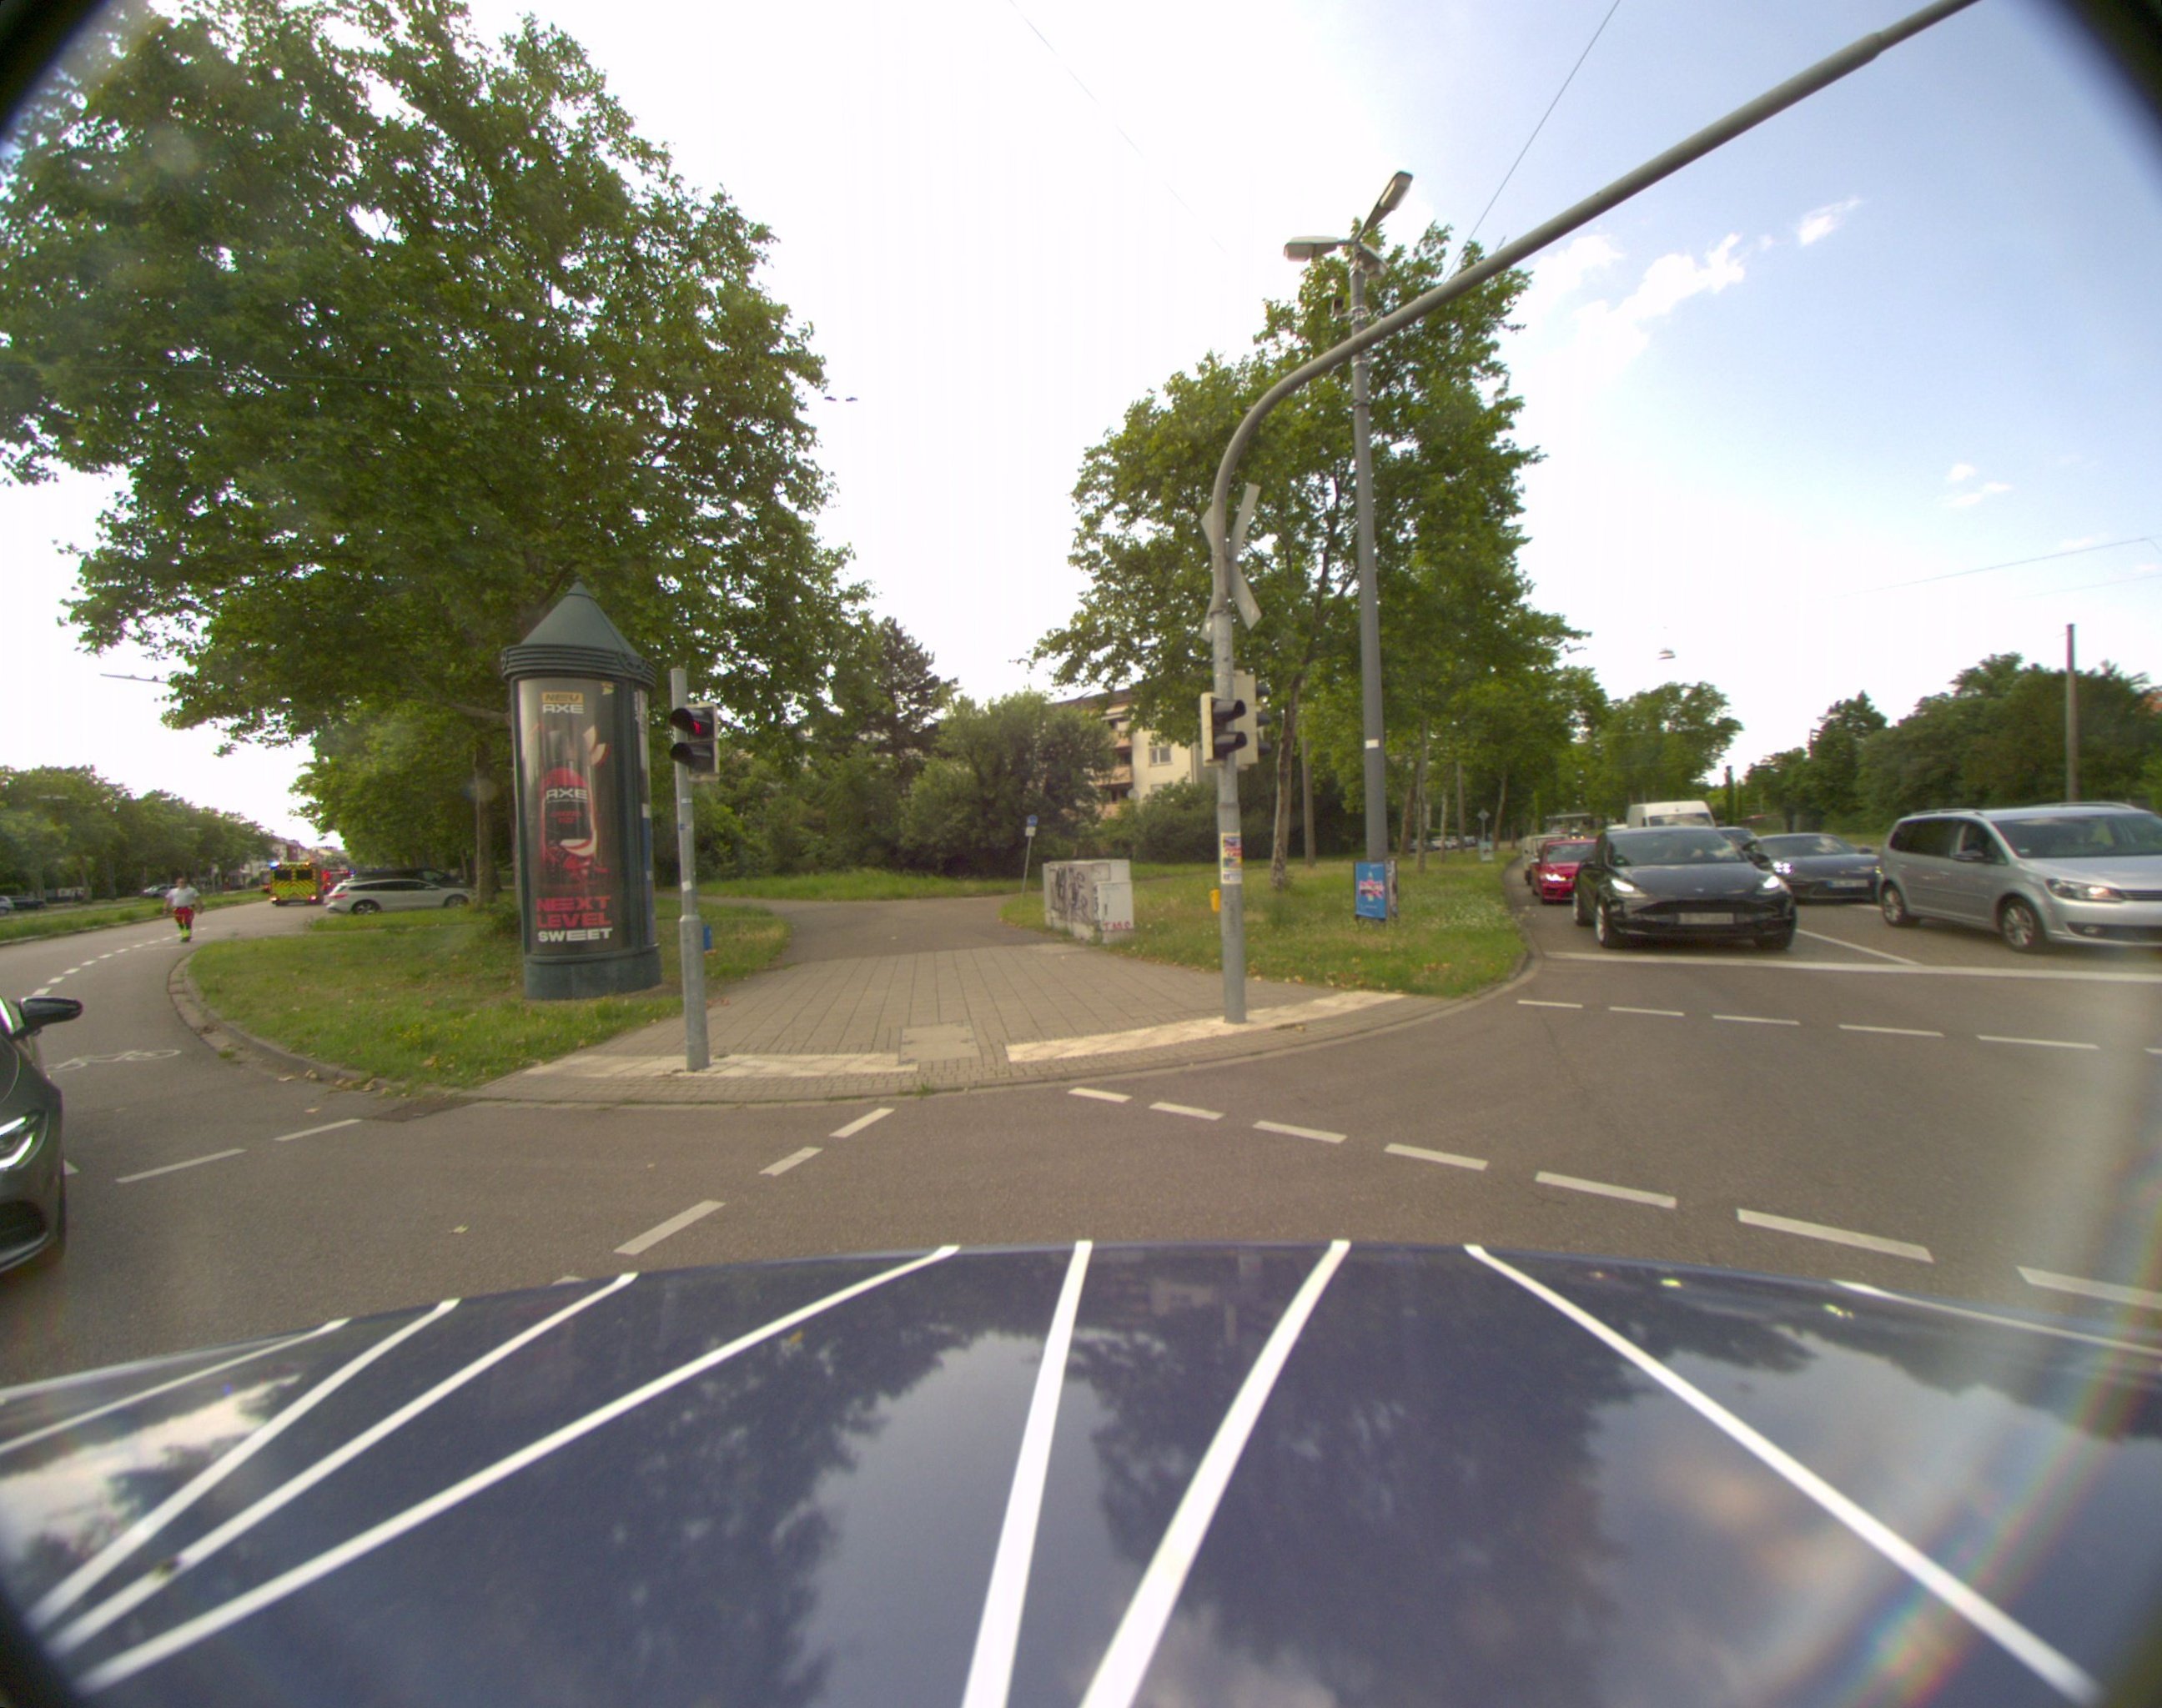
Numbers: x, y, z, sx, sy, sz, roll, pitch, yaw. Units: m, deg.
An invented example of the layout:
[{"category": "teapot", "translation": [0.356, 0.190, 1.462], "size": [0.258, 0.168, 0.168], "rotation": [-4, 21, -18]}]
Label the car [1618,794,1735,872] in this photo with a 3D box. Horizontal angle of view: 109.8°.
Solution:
[{"category": "car", "translation": [22.287, -0.785, 28.721], "size": [2.222, 2.515, 5.942], "rotation": [-4, 0, 27]}]

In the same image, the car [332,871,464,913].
[{"category": "car", "translation": [-32.702, 1.798, 36.509], "size": [4.552, 1.634, 1.995], "rotation": [-3, 0, -44]}]

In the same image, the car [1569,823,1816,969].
[{"category": "car", "translation": [8.471, 0.456, 11.027], "size": [1.927, 1.642, 4.587], "rotation": [-4, 0, 28]}]

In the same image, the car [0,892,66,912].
[{"category": "car", "translation": [-86.799, 3.973, 62.093], "size": [1.897, 1.356, 4.322], "rotation": [-2, 1, 26]}]

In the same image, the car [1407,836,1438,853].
[{"category": "car", "translation": [35.022, -0.942, 77.809], "size": [1.772, 1.586, 3.664], "rotation": [-2, -1, 43]}]

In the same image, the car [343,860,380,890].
[{"category": "car", "translation": [-83.861, 2.474, 88.571], "size": [2.981, 3.310, 7.439], "rotation": [-1, -1, -43]}]

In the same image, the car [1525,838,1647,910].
[{"category": "car", "translation": [11.786, 0.399, 18.010], "size": [1.798, 1.383, 4.509], "rotation": [-4, 0, 27]}]

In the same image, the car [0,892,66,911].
[{"category": "car", "translation": [-90.560, 4.111, 64.877], "size": [1.897, 1.356, 4.322], "rotation": [-2, 1, 26]}]

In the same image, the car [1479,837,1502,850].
[{"category": "car", "translation": [55.496, -1.394, 102.966], "size": [1.772, 1.586, 3.664], "rotation": [-2, -1, 43]}]

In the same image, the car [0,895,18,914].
[{"category": "car", "translation": [-83.161, 3.940, 56.600], "size": [1.897, 1.356, 4.322], "rotation": [-2, 1, 26]}]

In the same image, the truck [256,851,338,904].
[{"category": "truck", "translation": [-54.836, 1.583, 53.358], "size": [3.199, 3.298, 7.502], "rotation": [-3, 1, -41]}]

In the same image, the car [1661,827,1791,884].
[{"category": "car", "translation": [18.084, -0.016, 21.535], "size": [1.761, 1.367, 4.350], "rotation": [-4, 0, 27]}]

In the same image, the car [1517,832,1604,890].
[{"category": "car", "translation": [14.879, 0.153, 23.809], "size": [1.798, 1.560, 4.509], "rotation": [-4, 0, 27]}]

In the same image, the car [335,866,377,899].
[{"category": "car", "translation": [-75.388, 2.947, 79.054], "size": [2.981, 3.297, 7.439], "rotation": [-1, -1, -43]}]

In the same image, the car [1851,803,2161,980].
[{"category": "car", "translation": [11.582, 0.295, 9.086], "size": [1.926, 1.642, 4.509], "rotation": [-4, 0, 27]}]

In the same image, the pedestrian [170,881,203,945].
[{"category": "pedestrian", "translation": [-24.465, 1.604, 20.782], "size": [0.585, 1.674, 0.495], "rotation": [-2, 0, 36]}]

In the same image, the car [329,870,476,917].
[{"category": "car", "translation": [-29.143, 1.668, 32.761], "size": [4.552, 1.634, 1.995], "rotation": [-3, 0, -44]}]

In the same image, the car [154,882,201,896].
[{"category": "car", "translation": [-133.327, 5.127, 112.154], "size": [1.818, 1.827, 4.006], "rotation": [-2, -1, 17]}]

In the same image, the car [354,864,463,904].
[{"category": "car", "translation": [-38.913, 1.711, 44.080], "size": [4.565, 2.002, 1.995], "rotation": [-3, 1, -41]}]

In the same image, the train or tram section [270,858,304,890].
[{"category": "train or tram section", "translation": [-96.020, 2.426, 91.894], "size": [7.401, 3.576, 2.500], "rotation": [-1, 1, 42]}]

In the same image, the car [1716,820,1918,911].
[{"category": "car", "translation": [14.362, 0.166, 15.130], "size": [1.800, 1.499, 4.006], "rotation": [-4, 0, 28]}]

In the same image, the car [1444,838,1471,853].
[{"category": "car", "translation": [43.677, -0.967, 88.135], "size": [1.772, 1.586, 3.664], "rotation": [-2, -1, 43]}]

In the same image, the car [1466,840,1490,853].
[{"category": "car", "translation": [50.610, -0.981, 96.742], "size": [1.772, 1.586, 3.664], "rotation": [-2, -1, 43]}]

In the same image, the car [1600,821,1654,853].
[{"category": "car", "translation": [30.434, -0.978, 42.487], "size": [1.760, 1.637, 4.350], "rotation": [-2, 1, 27]}]

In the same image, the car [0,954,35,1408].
[{"category": "car", "translation": [-6.071, 1.246, 3.165], "size": [4.593, 1.385, 1.845], "rotation": [-1, 0, 34]}]

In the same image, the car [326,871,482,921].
[{"category": "car", "translation": [-27.385, 1.657, 30.875], "size": [4.552, 1.634, 1.995], "rotation": [-3, 0, -44]}]

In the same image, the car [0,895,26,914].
[{"category": "car", "translation": [-85.046, 4.016, 58.378], "size": [1.897, 1.356, 4.322], "rotation": [-2, 1, 26]}]

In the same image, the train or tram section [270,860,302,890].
[{"category": "train or tram section", "translation": [-101.441, 2.639, 96.896], "size": [7.401, 3.576, 2.500], "rotation": [-1, 1, 43]}]

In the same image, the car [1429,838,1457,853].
[{"category": "car", "translation": [40.510, -0.950, 85.042], "size": [1.772, 1.586, 3.664], "rotation": [-2, -1, 43]}]

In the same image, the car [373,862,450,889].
[{"category": "car", "translation": [-89.554, 2.838, 101.677], "size": [2.967, 3.310, 7.475], "rotation": [-2, -1, 43]}]
